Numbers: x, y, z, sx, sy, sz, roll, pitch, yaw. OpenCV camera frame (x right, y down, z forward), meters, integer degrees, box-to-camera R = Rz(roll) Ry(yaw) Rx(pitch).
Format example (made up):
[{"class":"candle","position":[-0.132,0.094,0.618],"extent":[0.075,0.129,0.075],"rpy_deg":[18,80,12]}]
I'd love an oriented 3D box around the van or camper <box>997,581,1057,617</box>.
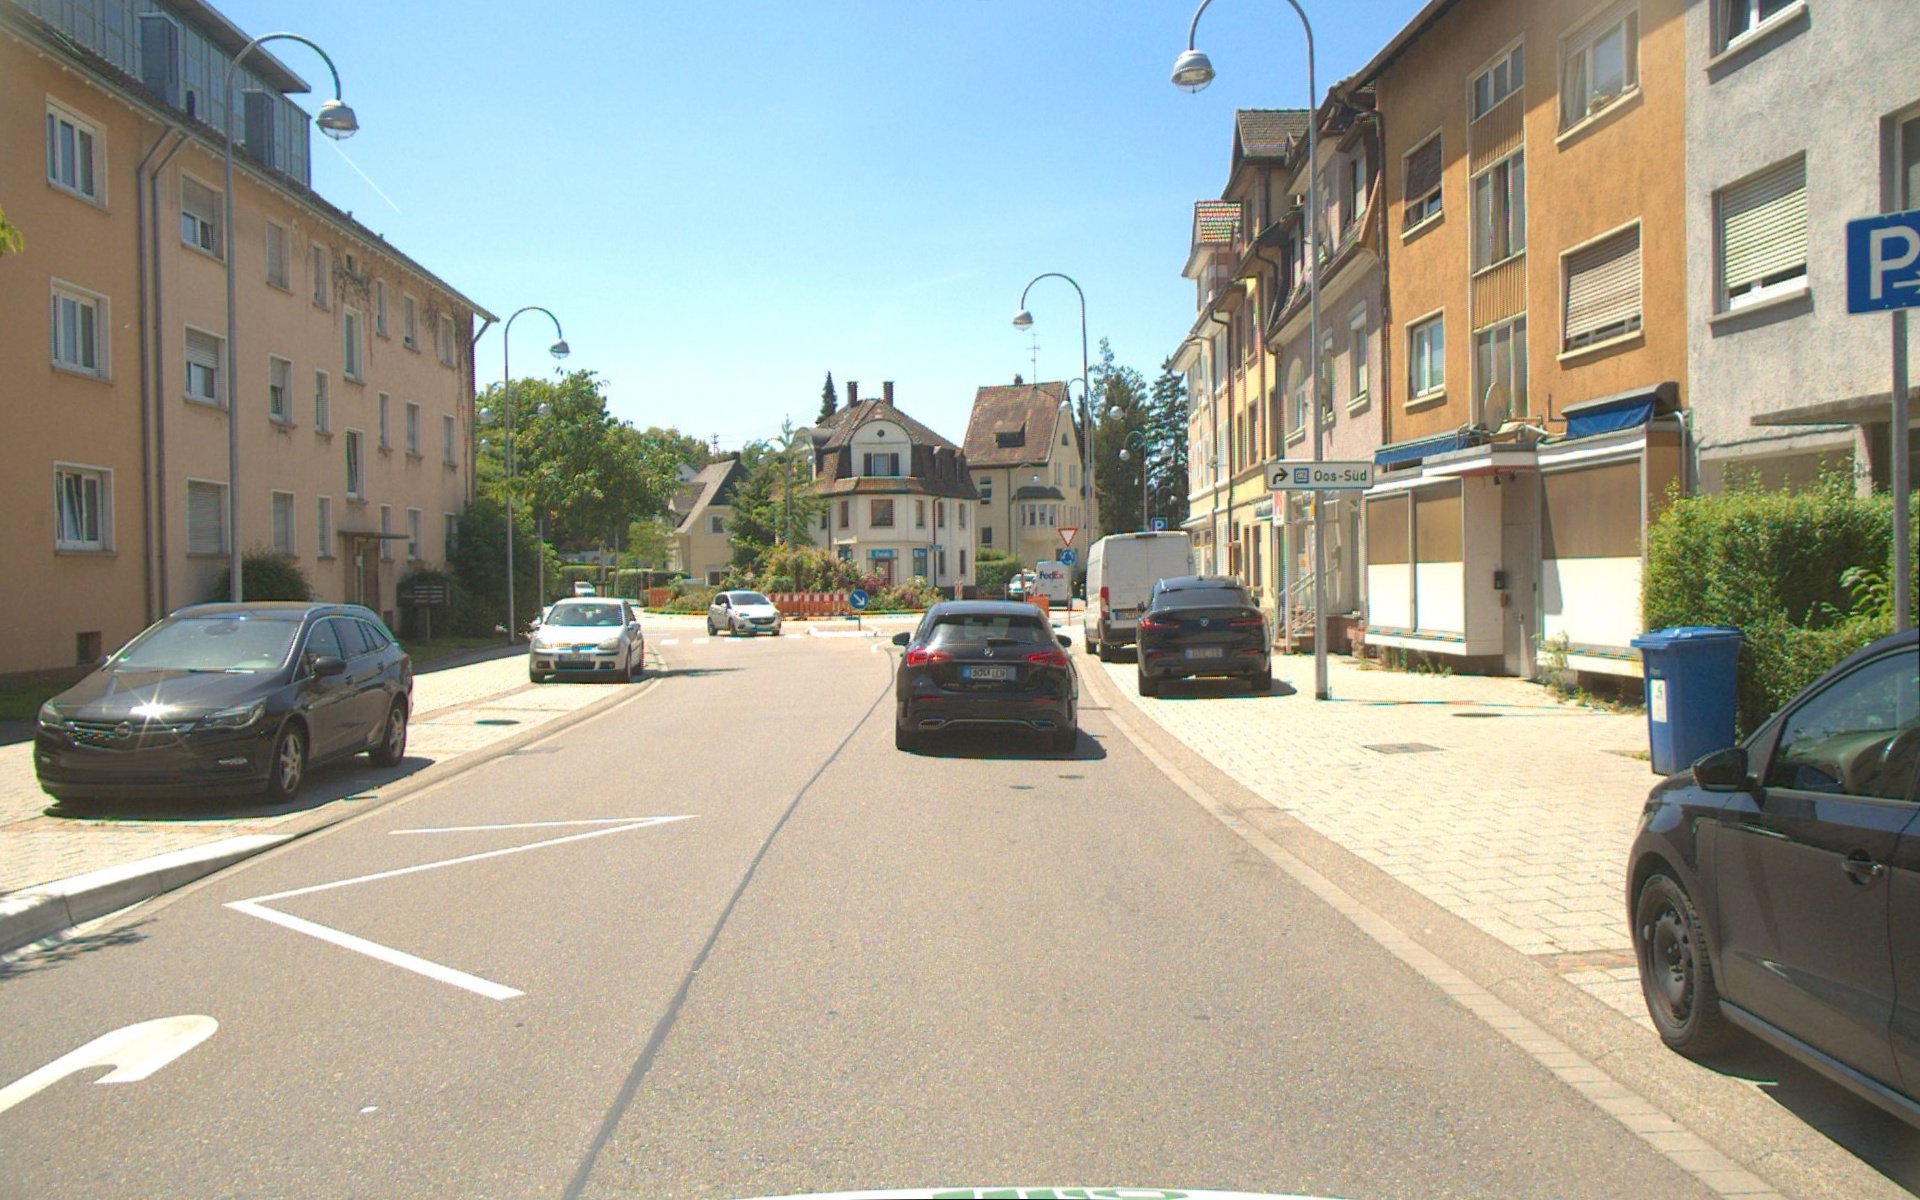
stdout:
[{"class":"van or camper","position":[4.471,-0.043,108.833],"extent":[1.954,2.210,5.408],"rpy_deg":[1,0,26]}]

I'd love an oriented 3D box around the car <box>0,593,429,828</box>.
[{"class":"car","position":[-5.946,0.757,13.677],"extent":[1.820,1.533,4.560],"rpy_deg":[1,1,-3]}]

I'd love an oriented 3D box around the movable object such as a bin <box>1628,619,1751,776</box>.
[{"class":"movable object such as a bin","position":[5.368,0.701,12.199],"extent":[0.581,1.095,0.647],"rpy_deg":[-2,0,-2]}]

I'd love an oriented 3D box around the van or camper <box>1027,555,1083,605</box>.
[{"class":"van or camper","position":[5.158,-1.067,89.349],"extent":[2.159,2.656,4.003],"rpy_deg":[0,1,16]}]

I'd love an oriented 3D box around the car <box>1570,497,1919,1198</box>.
[{"class":"car","position":[3.091,0.536,4.168],"extent":[1.692,1.661,4.002],"rpy_deg":[-3,1,2]}]

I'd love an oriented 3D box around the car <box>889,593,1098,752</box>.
[{"class":"car","position":[0.281,0.690,17.167],"extent":[1.913,1.452,3.999],"rpy_deg":[0,-1,-1]}]

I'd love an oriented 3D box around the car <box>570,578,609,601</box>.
[{"class":"car","position":[-29.186,-0.833,130.424],"extent":[1.747,1.625,3.923],"rpy_deg":[0,-2,8]}]

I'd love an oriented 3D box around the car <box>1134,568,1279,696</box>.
[{"class":"car","position":[3.581,0.416,24.368],"extent":[1.855,1.635,4.368],"rpy_deg":[-3,0,7]}]

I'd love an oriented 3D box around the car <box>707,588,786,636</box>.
[{"class":"car","position":[-7.162,0.393,55.312],"extent":[1.638,1.523,3.732],"rpy_deg":[-1,0,-23]}]

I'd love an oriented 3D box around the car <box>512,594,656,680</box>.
[{"class":"car","position":[-6.815,0.633,30.389],"extent":[1.954,1.445,4.085],"rpy_deg":[0,0,-4]}]

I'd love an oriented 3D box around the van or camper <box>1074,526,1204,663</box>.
[{"class":"van or camper","position":[3.749,-0.142,35.676],"extent":[2.120,2.634,5.766],"rpy_deg":[-2,0,0]}]
